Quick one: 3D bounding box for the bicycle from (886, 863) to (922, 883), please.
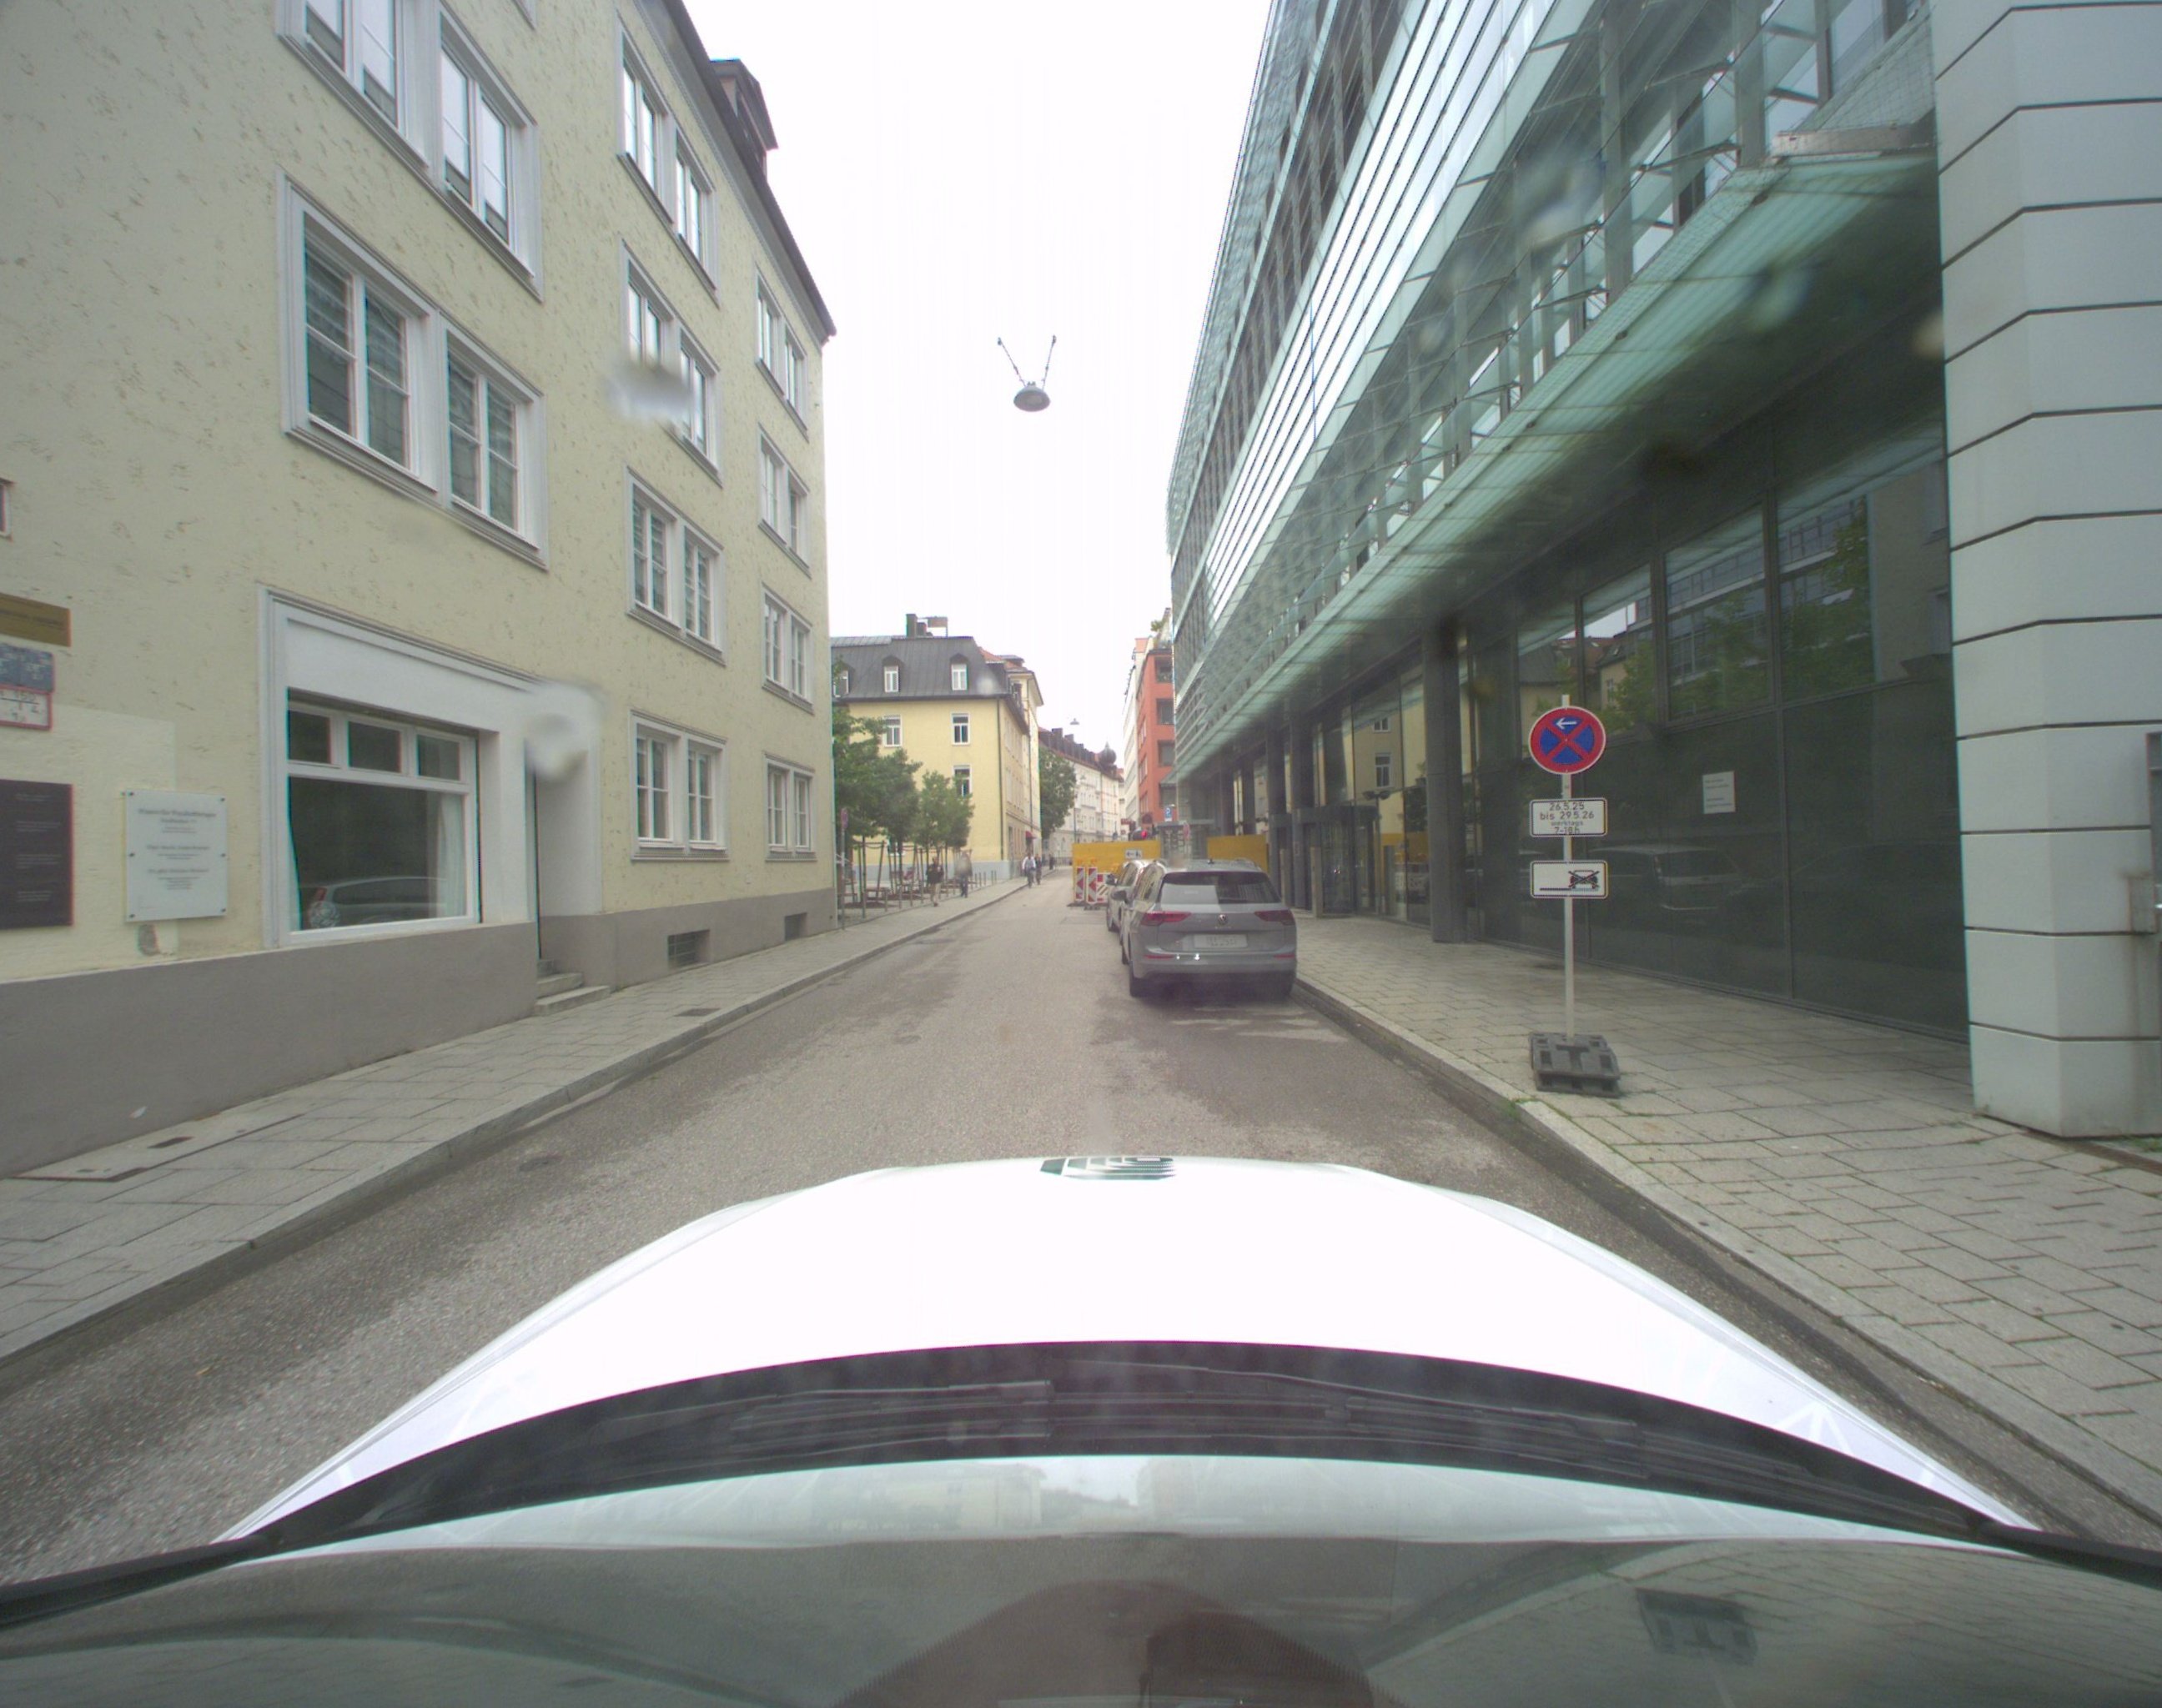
[{"bbox_3d":[-10.750,1.145,49.360,2.032,1.197,0.571,-1,0,7],"label":"bicycle"}]

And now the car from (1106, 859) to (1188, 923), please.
[{"bbox_3d":[1.537,0.845,20.399,1.702,1.414,4.509,0,-1,0],"label":"car"}]

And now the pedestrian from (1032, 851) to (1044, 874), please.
[{"bbox_3d":[-3.208,0.648,60.441,0.836,1.700,0.803,-1,-1,0],"label":"pedestrian"}]

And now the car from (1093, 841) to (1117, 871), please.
[{"bbox_3d":[2.087,0.166,72.529,1.987,2.536,4.974,-1,0,0],"label":"car"}]

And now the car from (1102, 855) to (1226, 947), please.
[{"bbox_3d":[1.394,0.777,15.239,1.703,1.467,4.232,0,-1,-3],"label":"car"}]

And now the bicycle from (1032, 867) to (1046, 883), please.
[{"bbox_3d":[-2.441,1.217,47.439,0.705,0.905,1.809,-2,0,0],"label":"bicycle"}]

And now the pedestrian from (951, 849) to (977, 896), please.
[{"bbox_3d":[-4.722,0.735,32.854,0.865,1.881,1.134,-1,-1,-1],"label":"pedestrian"}]

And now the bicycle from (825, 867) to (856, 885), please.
[{"bbox_3d":[-14.488,1.306,49.034,1.648,1.069,0.598,-1,0,4],"label":"bicycle"}]

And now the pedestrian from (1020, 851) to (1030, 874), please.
[{"bbox_3d":[-4.152,0.627,60.827,0.668,1.648,0.761,-1,-1,-1],"label":"pedestrian"}]

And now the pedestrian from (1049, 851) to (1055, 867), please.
[{"bbox_3d":[-3.030,0.517,85.725,0.632,1.675,0.517,-1,0,0],"label":"pedestrian"}]

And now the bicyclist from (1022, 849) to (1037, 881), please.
[{"bbox_3d":[-2.736,0.563,43.161,0.657,1.643,0.895,-2,0,0],"label":"bicyclist"}]

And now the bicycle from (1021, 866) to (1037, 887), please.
[{"bbox_3d":[-2.717,1.195,42.996,0.659,1.039,2.004,-2,0,0],"label":"bicycle"}]

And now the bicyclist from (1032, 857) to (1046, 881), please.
[{"bbox_3d":[-2.445,0.869,47.467,0.705,1.371,0.813,-2,0,0],"label":"bicyclist"}]

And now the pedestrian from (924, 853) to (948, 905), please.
[{"bbox_3d":[-4.749,0.802,26.682,0.645,1.676,0.723,-1,-1,-1],"label":"pedestrian"}]

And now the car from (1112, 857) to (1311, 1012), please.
[{"bbox_3d":[1.328,0.777,9.945,1.702,1.432,4.328,-2,0,0],"label":"car"}]
